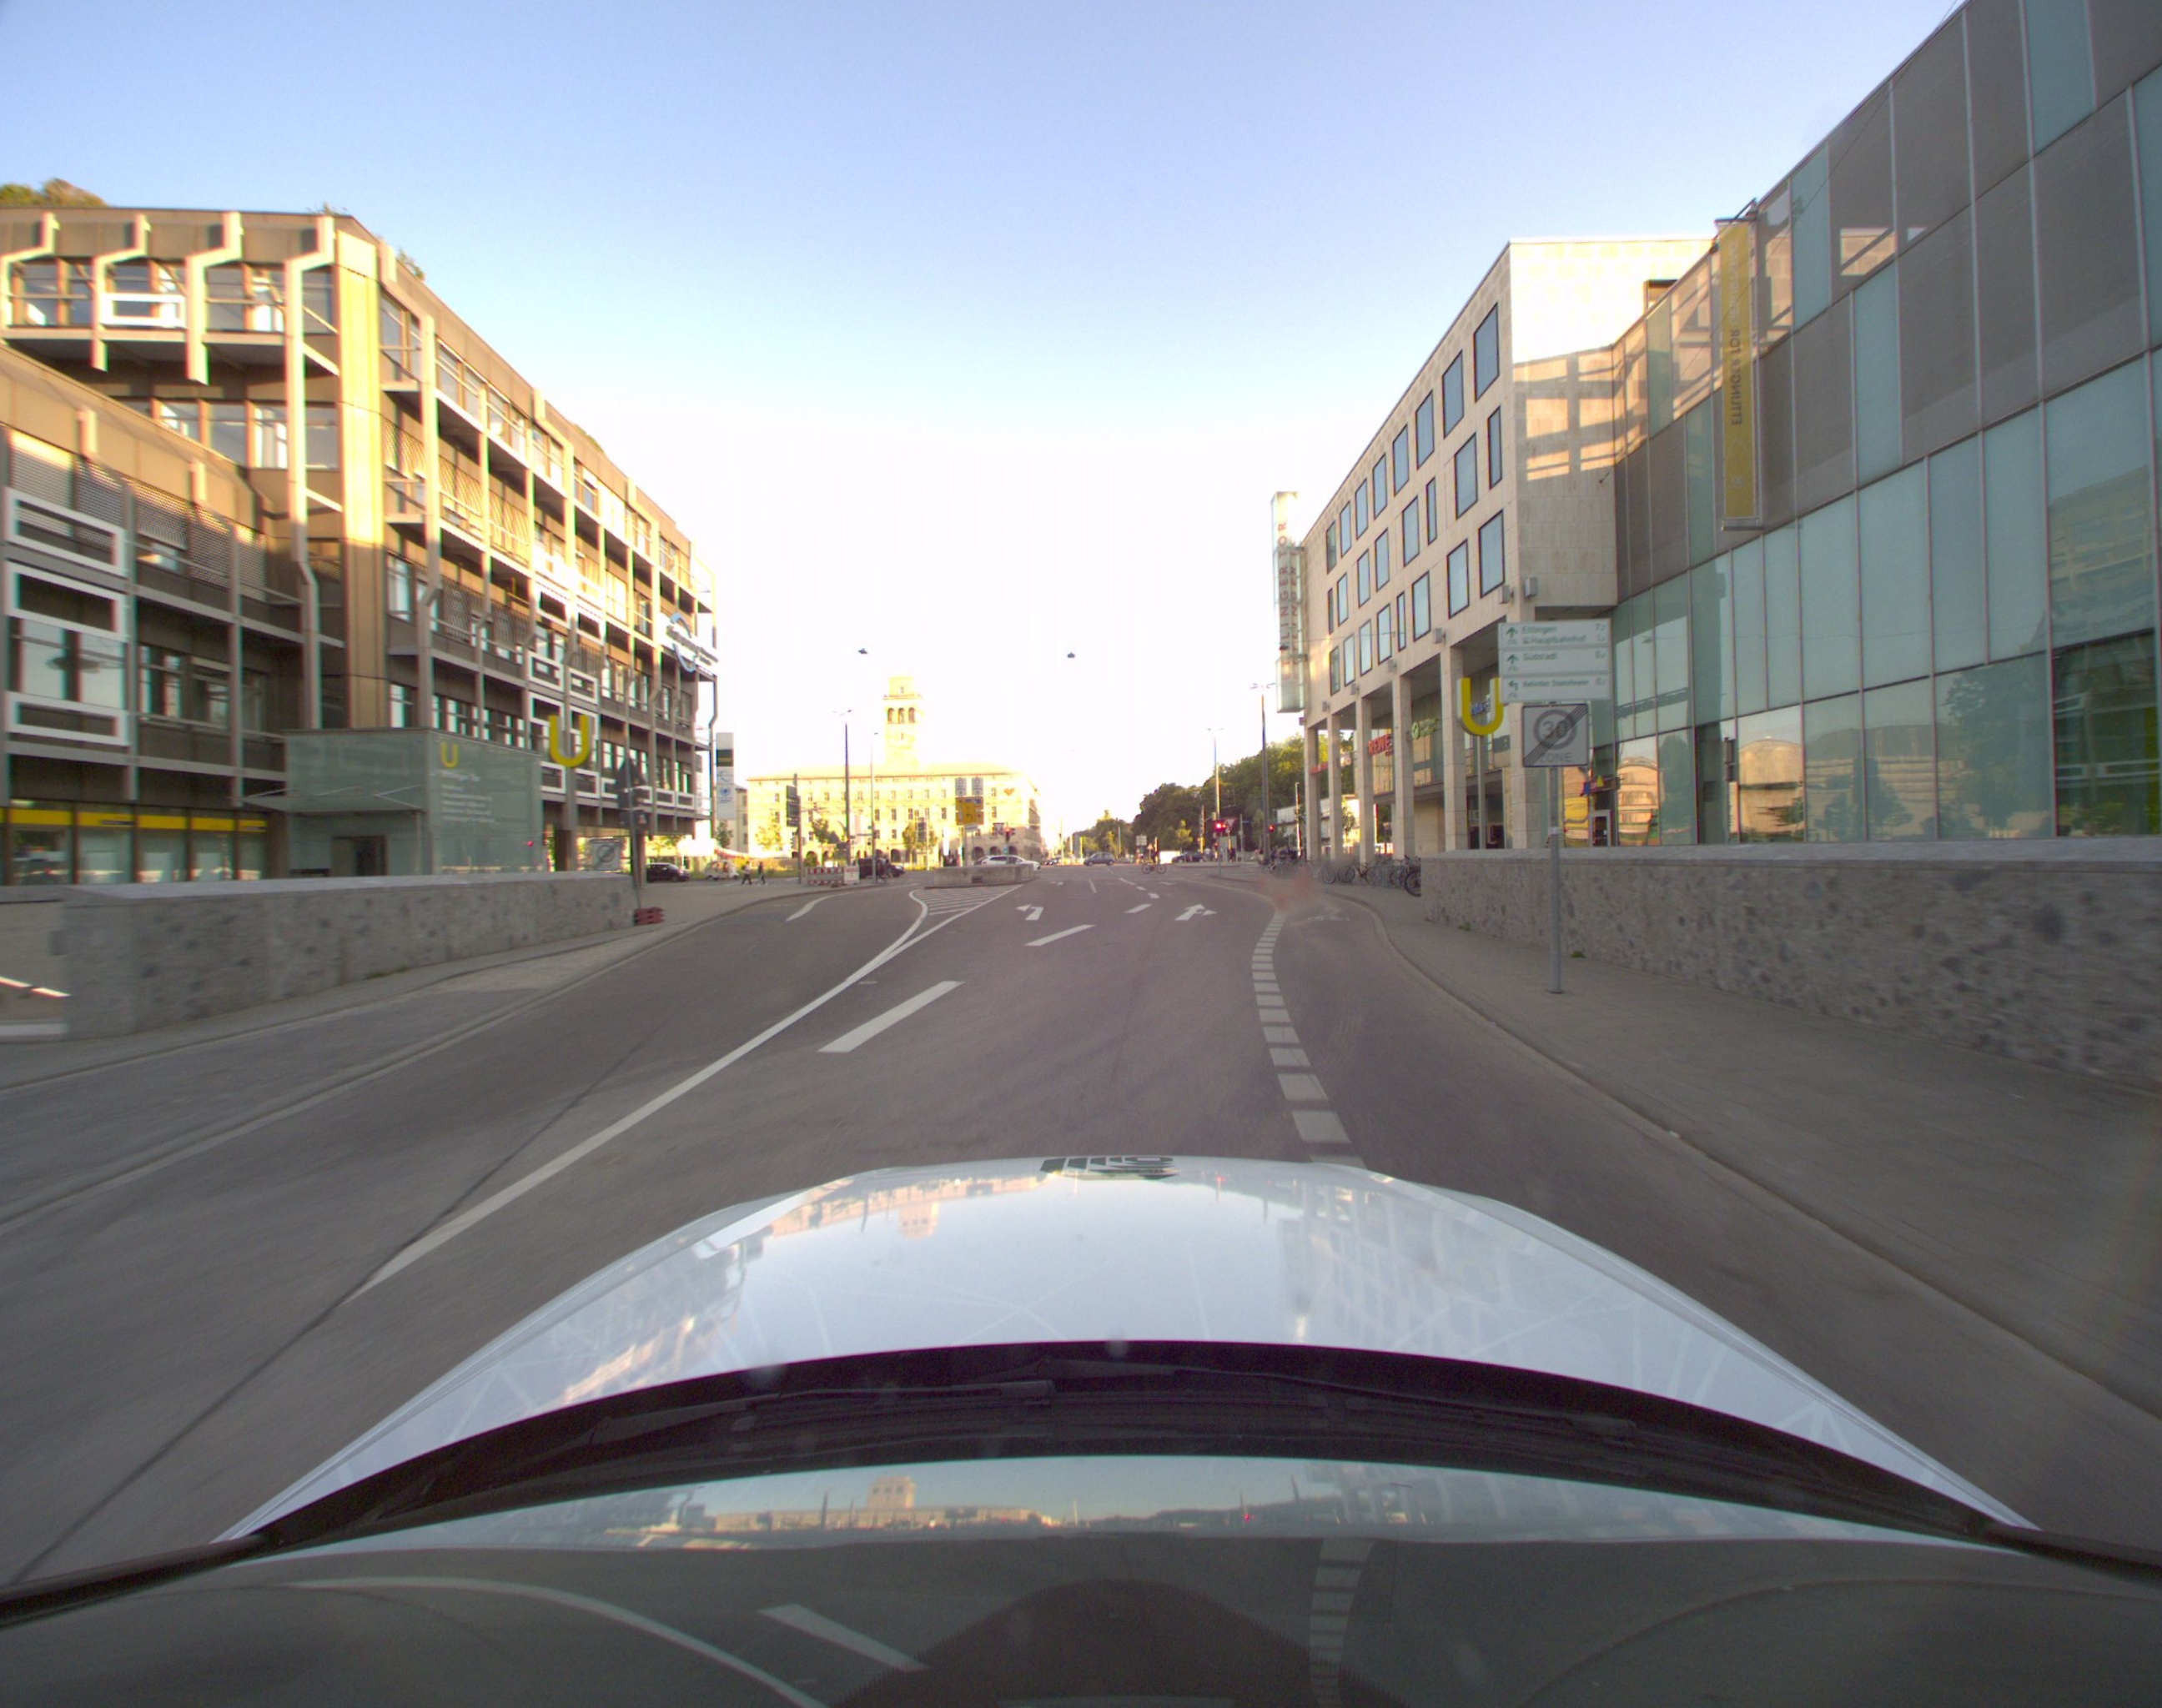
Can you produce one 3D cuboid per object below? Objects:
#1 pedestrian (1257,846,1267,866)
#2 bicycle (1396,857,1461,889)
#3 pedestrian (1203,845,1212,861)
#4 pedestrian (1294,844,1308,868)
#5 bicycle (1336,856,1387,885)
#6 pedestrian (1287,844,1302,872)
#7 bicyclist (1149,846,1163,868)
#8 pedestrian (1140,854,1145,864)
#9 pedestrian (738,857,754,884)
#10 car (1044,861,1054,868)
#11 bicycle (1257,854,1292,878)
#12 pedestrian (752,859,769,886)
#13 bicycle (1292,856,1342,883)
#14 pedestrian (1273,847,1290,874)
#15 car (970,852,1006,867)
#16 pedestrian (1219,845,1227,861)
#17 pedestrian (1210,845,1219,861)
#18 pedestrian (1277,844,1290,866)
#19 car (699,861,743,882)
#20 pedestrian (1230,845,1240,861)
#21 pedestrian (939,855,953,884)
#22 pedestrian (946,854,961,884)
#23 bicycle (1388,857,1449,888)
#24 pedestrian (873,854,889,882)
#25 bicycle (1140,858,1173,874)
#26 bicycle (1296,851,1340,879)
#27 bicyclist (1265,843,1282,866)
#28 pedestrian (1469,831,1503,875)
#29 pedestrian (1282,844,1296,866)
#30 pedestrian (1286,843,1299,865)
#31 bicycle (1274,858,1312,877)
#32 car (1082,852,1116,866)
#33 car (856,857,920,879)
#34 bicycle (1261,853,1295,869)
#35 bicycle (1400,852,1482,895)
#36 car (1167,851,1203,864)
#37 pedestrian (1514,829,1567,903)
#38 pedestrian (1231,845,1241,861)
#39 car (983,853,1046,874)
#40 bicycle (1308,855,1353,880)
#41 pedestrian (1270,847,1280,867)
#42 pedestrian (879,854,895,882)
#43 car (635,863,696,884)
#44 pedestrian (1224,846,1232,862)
[{"bbox_3d":[15.560,0.167,70.031,0.689,1.730,0.742,-1,0,2],"label":"pedestrian"},{"bbox_3d":[10.912,0.594,25.585,1.803,0.936,0.516,-2,0,-2],"label":"bicycle"},{"bbox_3d":[13.673,-0.112,88.109,0.806,1.730,0.687,-1,0,-2],"label":"pedestrian"},{"bbox_3d":[17.177,0.162,63.534,0.889,1.840,0.689,-1,0,4],"label":"pedestrian"},{"bbox_3d":[11.137,0.646,32.391,1.806,1.100,0.602,1,0,7],"label":"bicycle"},{"bbox_3d":[14.349,0.271,54.773,0.753,1.777,0.741,-4,0,1],"label":"pedestrian"},{"bbox_3d":[5.303,0.187,57.877,0.877,1.531,0.653,-2,0,-2],"label":"bicyclist"},{"bbox_3d":[8.140,0.661,107.421,0.521,1.374,0.687,-1,0,-4],"label":"pedestrian"},{"bbox_3d":[-23.028,1.129,55.990,0.744,1.777,0.854,-4,0,-36],"label":"pedestrian"},{"bbox_3d":[-7.260,2.388,185.081,1.986,1.519,4.002,-2,0,2],"label":"car"},{"bbox_3d":[10.356,0.643,43.586,1.804,1.212,0.573,-2,0,15],"label":"bicycle"},{"bbox_3d":[-22.014,1.253,55.899,0.745,1.777,0.853,-4,0,-40],"label":"pedestrian"},{"bbox_3d":[9.791,0.636,33.777,1.889,1.047,0.571,-2,0,4],"label":"bicycle"},{"bbox_3d":[13.484,0.434,54.823,0.857,1.777,0.741,-4,0,1],"label":"pedestrian"},{"bbox_3d":[-10.346,0.598,90.736,3.983,1.494,1.824,-2,0,-7],"label":"car"},{"bbox_3d":[15.542,-0.101,89.206,0.803,1.730,0.690,-1,0,12],"label":"pedestrian"},{"bbox_3d":[14.441,-0.135,88.171,0.806,1.730,0.687,-1,0,-2],"label":"pedestrian"},{"bbox_3d":[16.291,0.069,65.429,0.888,1.730,0.689,-1,0,7],"label":"pedestrian"},{"bbox_3d":[-30.172,1.459,68.333,3.135,1.685,1.604,-2,0,-14],"label":"car"},{"bbox_3d":[16.783,-0.104,88.578,0.813,1.730,0.682,-1,0,-27],"label":"pedestrian"},{"bbox_3d":[-8.366,0.977,50.481,0.741,1.777,0.858,-1,0,-20],"label":"pedestrian"},{"bbox_3d":[-7.789,0.902,49.740,0.740,1.777,0.858,-2,0,-16],"label":"pedestrian"},{"bbox_3d":[10.857,0.586,26.220,1.733,0.936,0.516,-2,0,-2],"label":"bicycle"},{"bbox_3d":[-12.946,0.892,52.662,0.736,1.777,0.862,-4,0,-3],"label":"pedestrian"},{"bbox_3d":[5.378,0.860,57.871,2.236,1.062,0.653,-2,0,-2],"label":"bicycle"},{"bbox_3d":[11.224,0.518,38.574,1.862,1.260,0.673,0,0,-2],"label":"bicycle"},{"bbox_3d":[13.749,0.015,58.192,1.016,1.621,0.654,-2,0,1],"label":"bicyclist"},{"bbox_3d":[16.915,-0.058,34.056,0.858,1.777,0.990,-3,0,-1],"label":"pedestrian"},{"bbox_3d":[16.269,0.065,63.663,0.888,1.730,0.689,-1,0,5],"label":"pedestrian"},{"bbox_3d":[17.271,-0.016,66.511,0.889,1.730,0.689,-1,0,4],"label":"pedestrian"},{"bbox_3d":[11.218,0.729,43.202,1.862,0.936,0.516,-2,0,-2],"label":"bicycle"},{"bbox_3d":[1.999,0.563,93.407,3.710,1.453,1.542,-2,0,-7],"label":"car"},{"bbox_3d":[-15.154,1.089,64.057,4.447,1.496,2.127,-2,0,-1],"label":"car"},{"bbox_3d":[14.071,0.482,58.180,2.234,1.062,0.654,-2,0,1],"label":"bicycle"},{"bbox_3d":[9.873,0.531,22.391,1.978,1.129,0.571,-2,0,4],"label":"bicycle"},{"bbox_3d":[12.203,0.401,95.577,3.979,1.453,1.539,-2,0,-13],"label":"car"},{"bbox_3d":[11.184,0.286,19.850,0.831,1.735,0.821,-2,0,7],"label":"pedestrian"},{"bbox_3d":[17.015,-0.151,89.501,0.689,1.730,0.804,-1,0,-26],"label":"pedestrian"},{"bbox_3d":[-5.178,0.743,64.021,4.782,1.496,2.127,-2,0,-1],"label":"car"},{"bbox_3d":[11.257,0.592,36.795,1.863,1.113,0.571,1,0,3],"label":"bicycle"},{"bbox_3d":[17.261,0.264,72.550,0.829,1.730,0.691,-2,0,16],"label":"pedestrian"},{"bbox_3d":[-12.751,0.892,53.574,0.736,1.777,0.862,-4,0,-3],"label":"pedestrian"},{"bbox_3d":[-34.739,1.622,68.128,4.179,1.592,1.692,-2,0,-9],"label":"car"},{"bbox_3d":[15.990,-0.029,88.460,0.803,1.730,0.690,-1,0,12],"label":"pedestrian"}]
